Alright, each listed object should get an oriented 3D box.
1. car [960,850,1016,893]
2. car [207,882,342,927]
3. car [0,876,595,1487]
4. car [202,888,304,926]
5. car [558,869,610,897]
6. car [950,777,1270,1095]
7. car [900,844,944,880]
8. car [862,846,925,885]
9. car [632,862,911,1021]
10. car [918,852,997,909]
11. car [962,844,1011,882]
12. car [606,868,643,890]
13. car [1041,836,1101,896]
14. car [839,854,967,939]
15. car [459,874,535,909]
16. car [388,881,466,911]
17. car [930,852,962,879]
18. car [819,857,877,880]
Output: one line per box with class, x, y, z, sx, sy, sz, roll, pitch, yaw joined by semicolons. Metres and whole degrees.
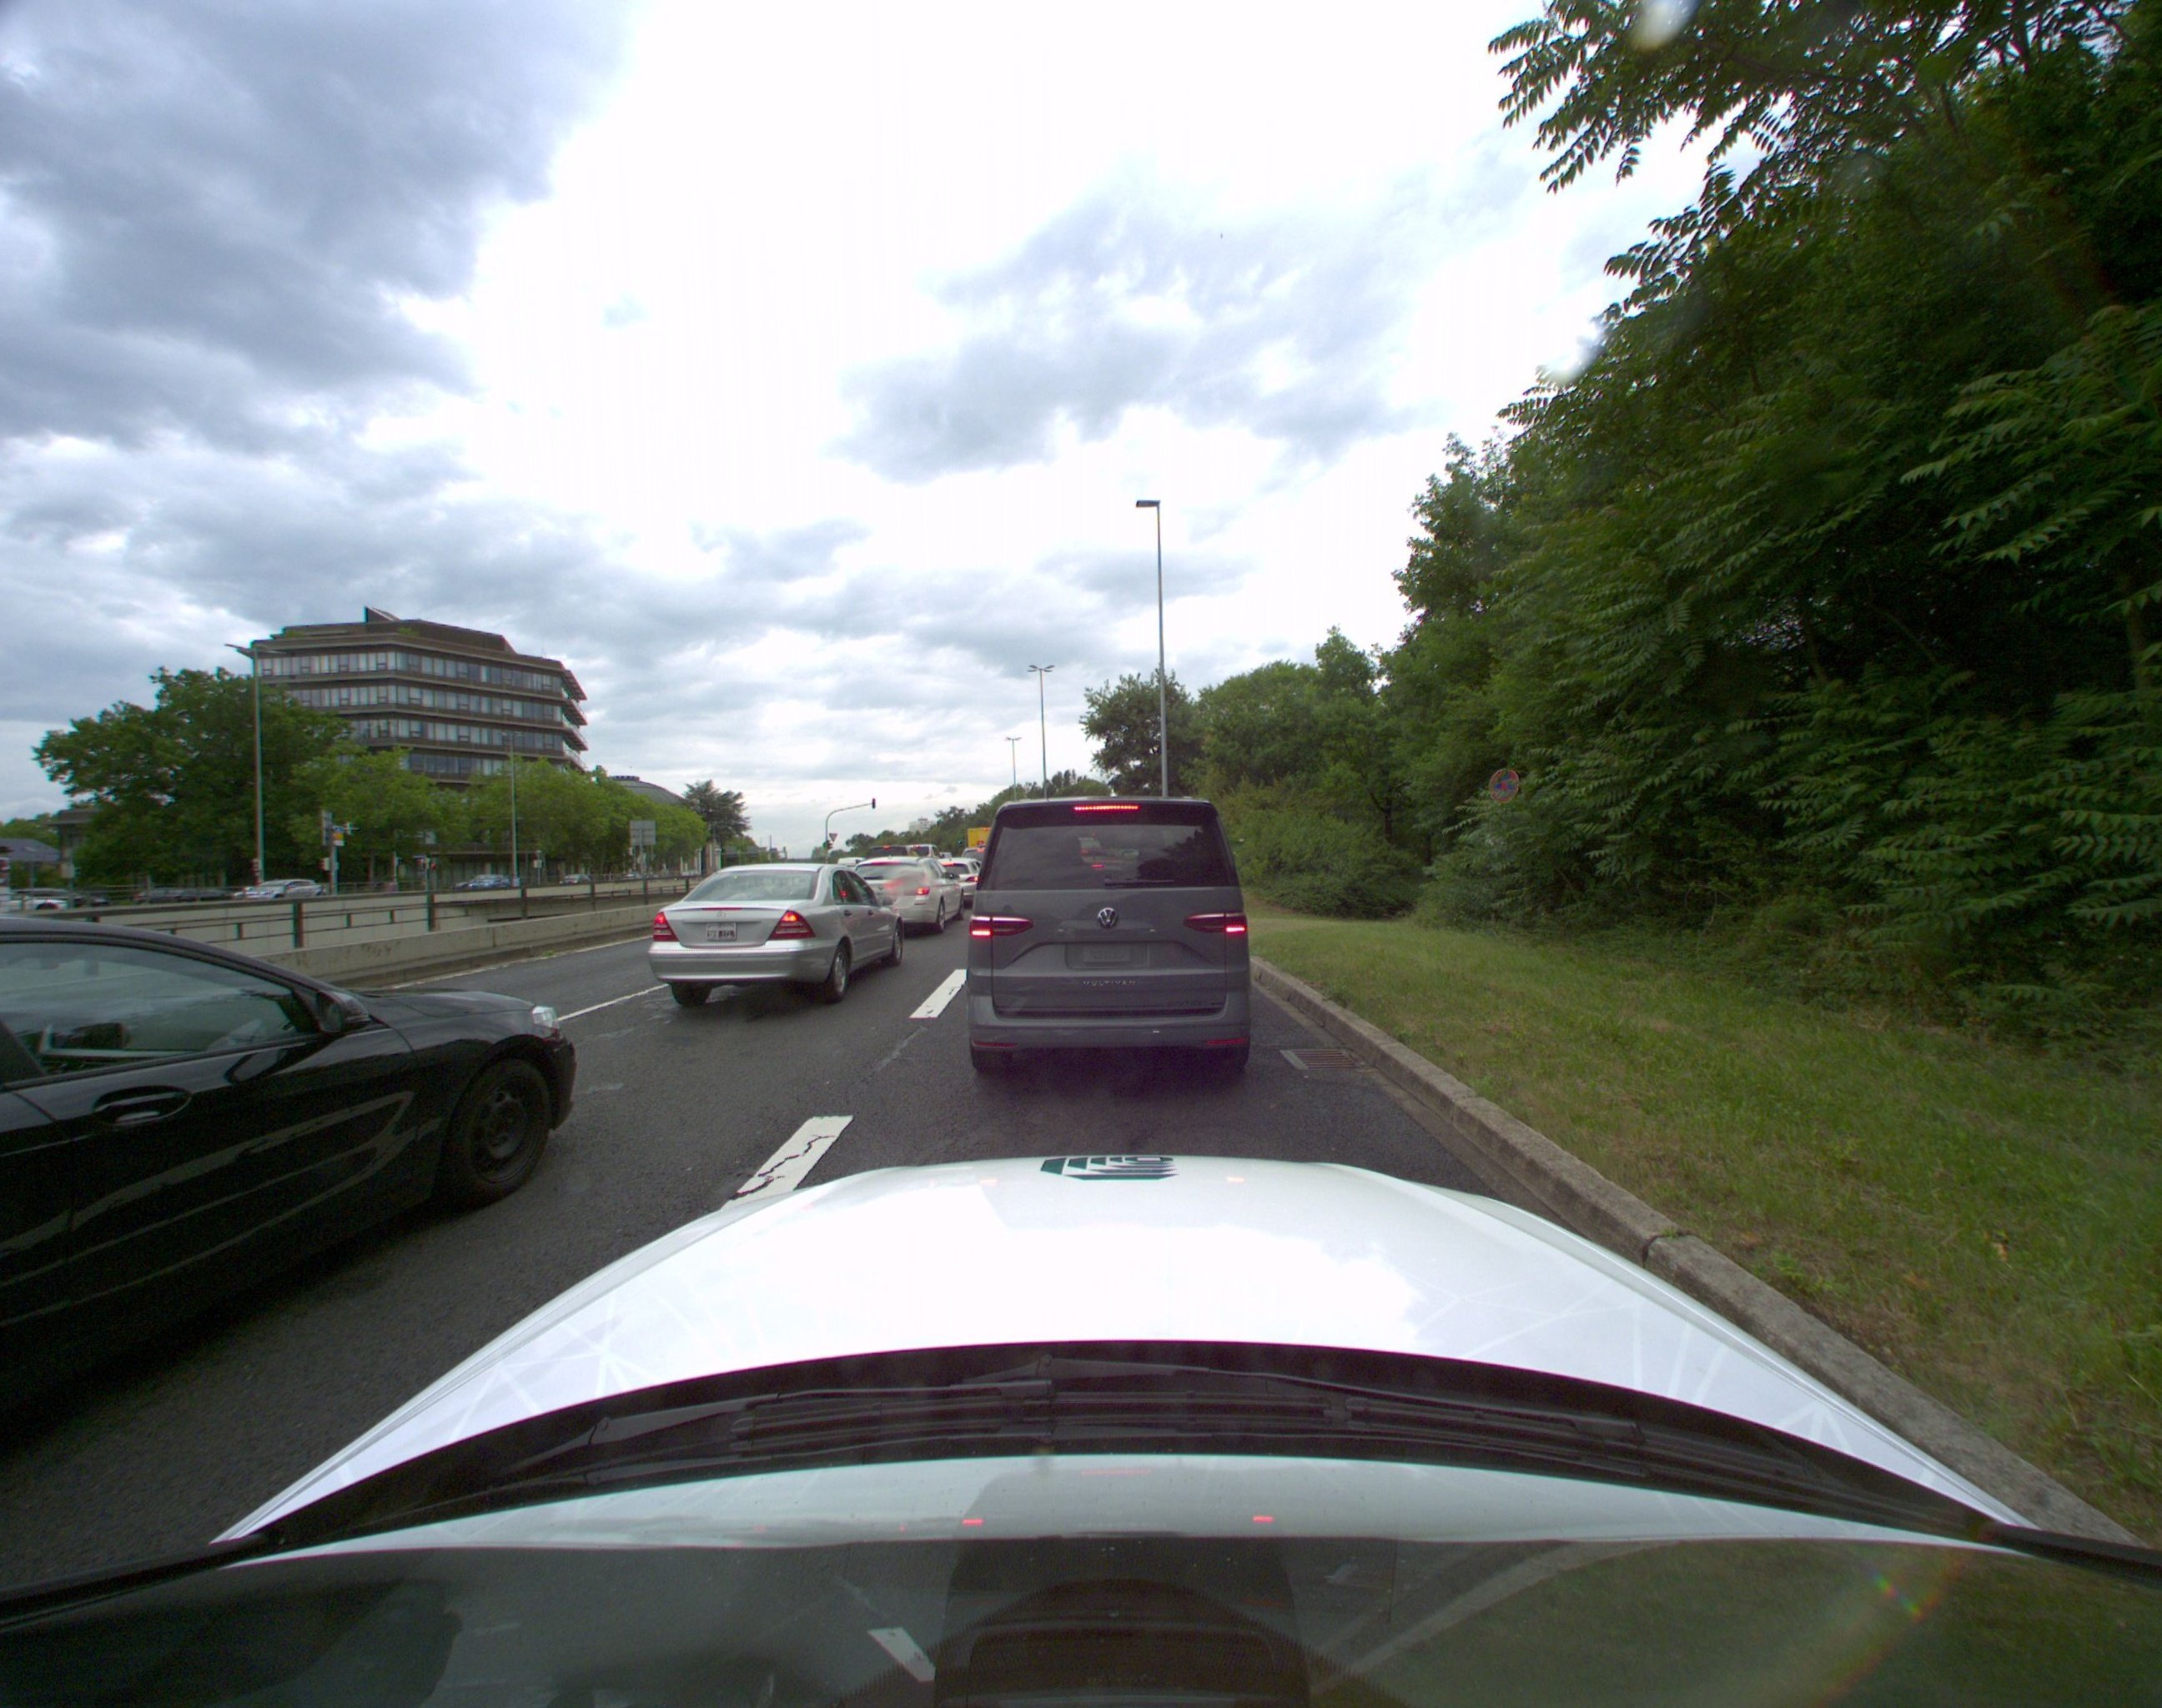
car;-3.440;0.637;30.909;1.618;1.494;4.295;-1;0;0
car;-42.649;2.616;43.294;2.332;1.949;5.215;-1;0;-7
car;-3.384;0.817;2.294;1.618;1.394;3.999;-1;0;0
car;-63.425;4.016;62.530;5.255;2.460;2.315;-2;0;-41
car;-48.752;2.774;79.976;2.333;2.460;5.214;-1;0;-7
car;0.268;0.501;7.082;1.891;1.884;4.418;-1;0;2
car;-8.141;0.399;42.093;1.620;1.701;4.292;-1;0;-3
car;-7.793;0.448;34.201;1.618;1.494;4.295;-1;0;0
car;-3.262;0.811;9.558;1.618;1.394;4.307;-1;0;0
car;-3.490;0.706;23.685;1.618;1.494;4.295;-1;0;0
car;-4.437;0.412;38.807;1.879;1.700;4.427;-1;0;-1
car;-53.554;2.895;95.648;2.336;2.460;5.206;-1;0;-12
car;-0.344;0.384;28.080;1.879;1.879;4.427;-1;0;-1
car;-3.465;0.760;16.709;1.618;1.494;4.546;-1;0;0
car;-45.300;2.862;63.337;2.330;2.460;5.219;-1;0;-4
car;-60.959;3.900;75.980;2.313;2.460;5.259;-1;0;42
car;-9.024;0.756;54.768;1.620;1.701;4.292;-1;0;-3
car;-21.955;1.316;76.787;4.765;2.013;2.005;-1;0;9
